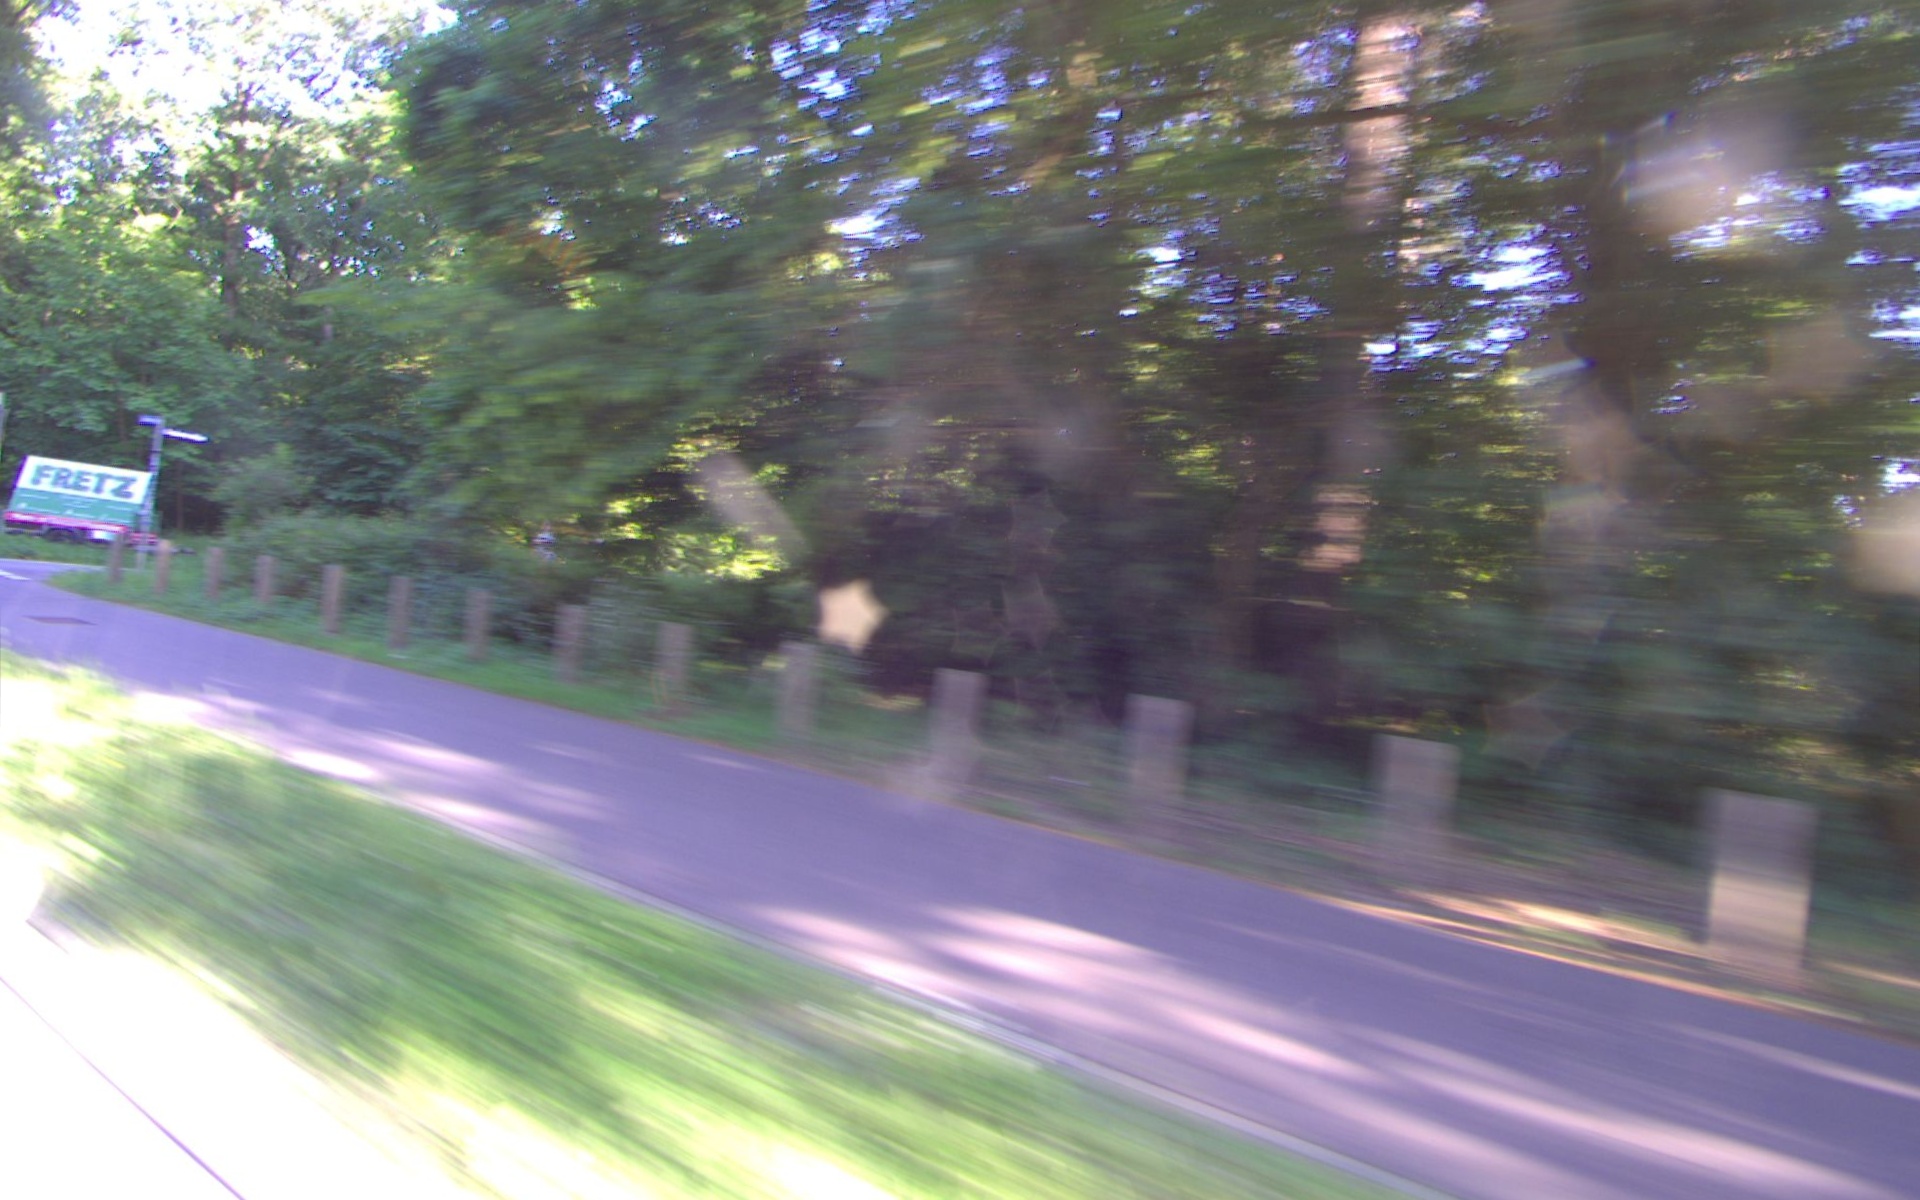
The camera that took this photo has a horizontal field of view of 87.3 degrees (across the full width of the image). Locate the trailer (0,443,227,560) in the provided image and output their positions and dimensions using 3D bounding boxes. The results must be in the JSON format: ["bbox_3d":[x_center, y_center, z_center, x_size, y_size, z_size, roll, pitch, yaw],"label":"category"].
[{"bbox_3d":[-20.804,-2.349,24.490,4.168,2.045,1.992,9,-1,-18],"label":"trailer"}]
